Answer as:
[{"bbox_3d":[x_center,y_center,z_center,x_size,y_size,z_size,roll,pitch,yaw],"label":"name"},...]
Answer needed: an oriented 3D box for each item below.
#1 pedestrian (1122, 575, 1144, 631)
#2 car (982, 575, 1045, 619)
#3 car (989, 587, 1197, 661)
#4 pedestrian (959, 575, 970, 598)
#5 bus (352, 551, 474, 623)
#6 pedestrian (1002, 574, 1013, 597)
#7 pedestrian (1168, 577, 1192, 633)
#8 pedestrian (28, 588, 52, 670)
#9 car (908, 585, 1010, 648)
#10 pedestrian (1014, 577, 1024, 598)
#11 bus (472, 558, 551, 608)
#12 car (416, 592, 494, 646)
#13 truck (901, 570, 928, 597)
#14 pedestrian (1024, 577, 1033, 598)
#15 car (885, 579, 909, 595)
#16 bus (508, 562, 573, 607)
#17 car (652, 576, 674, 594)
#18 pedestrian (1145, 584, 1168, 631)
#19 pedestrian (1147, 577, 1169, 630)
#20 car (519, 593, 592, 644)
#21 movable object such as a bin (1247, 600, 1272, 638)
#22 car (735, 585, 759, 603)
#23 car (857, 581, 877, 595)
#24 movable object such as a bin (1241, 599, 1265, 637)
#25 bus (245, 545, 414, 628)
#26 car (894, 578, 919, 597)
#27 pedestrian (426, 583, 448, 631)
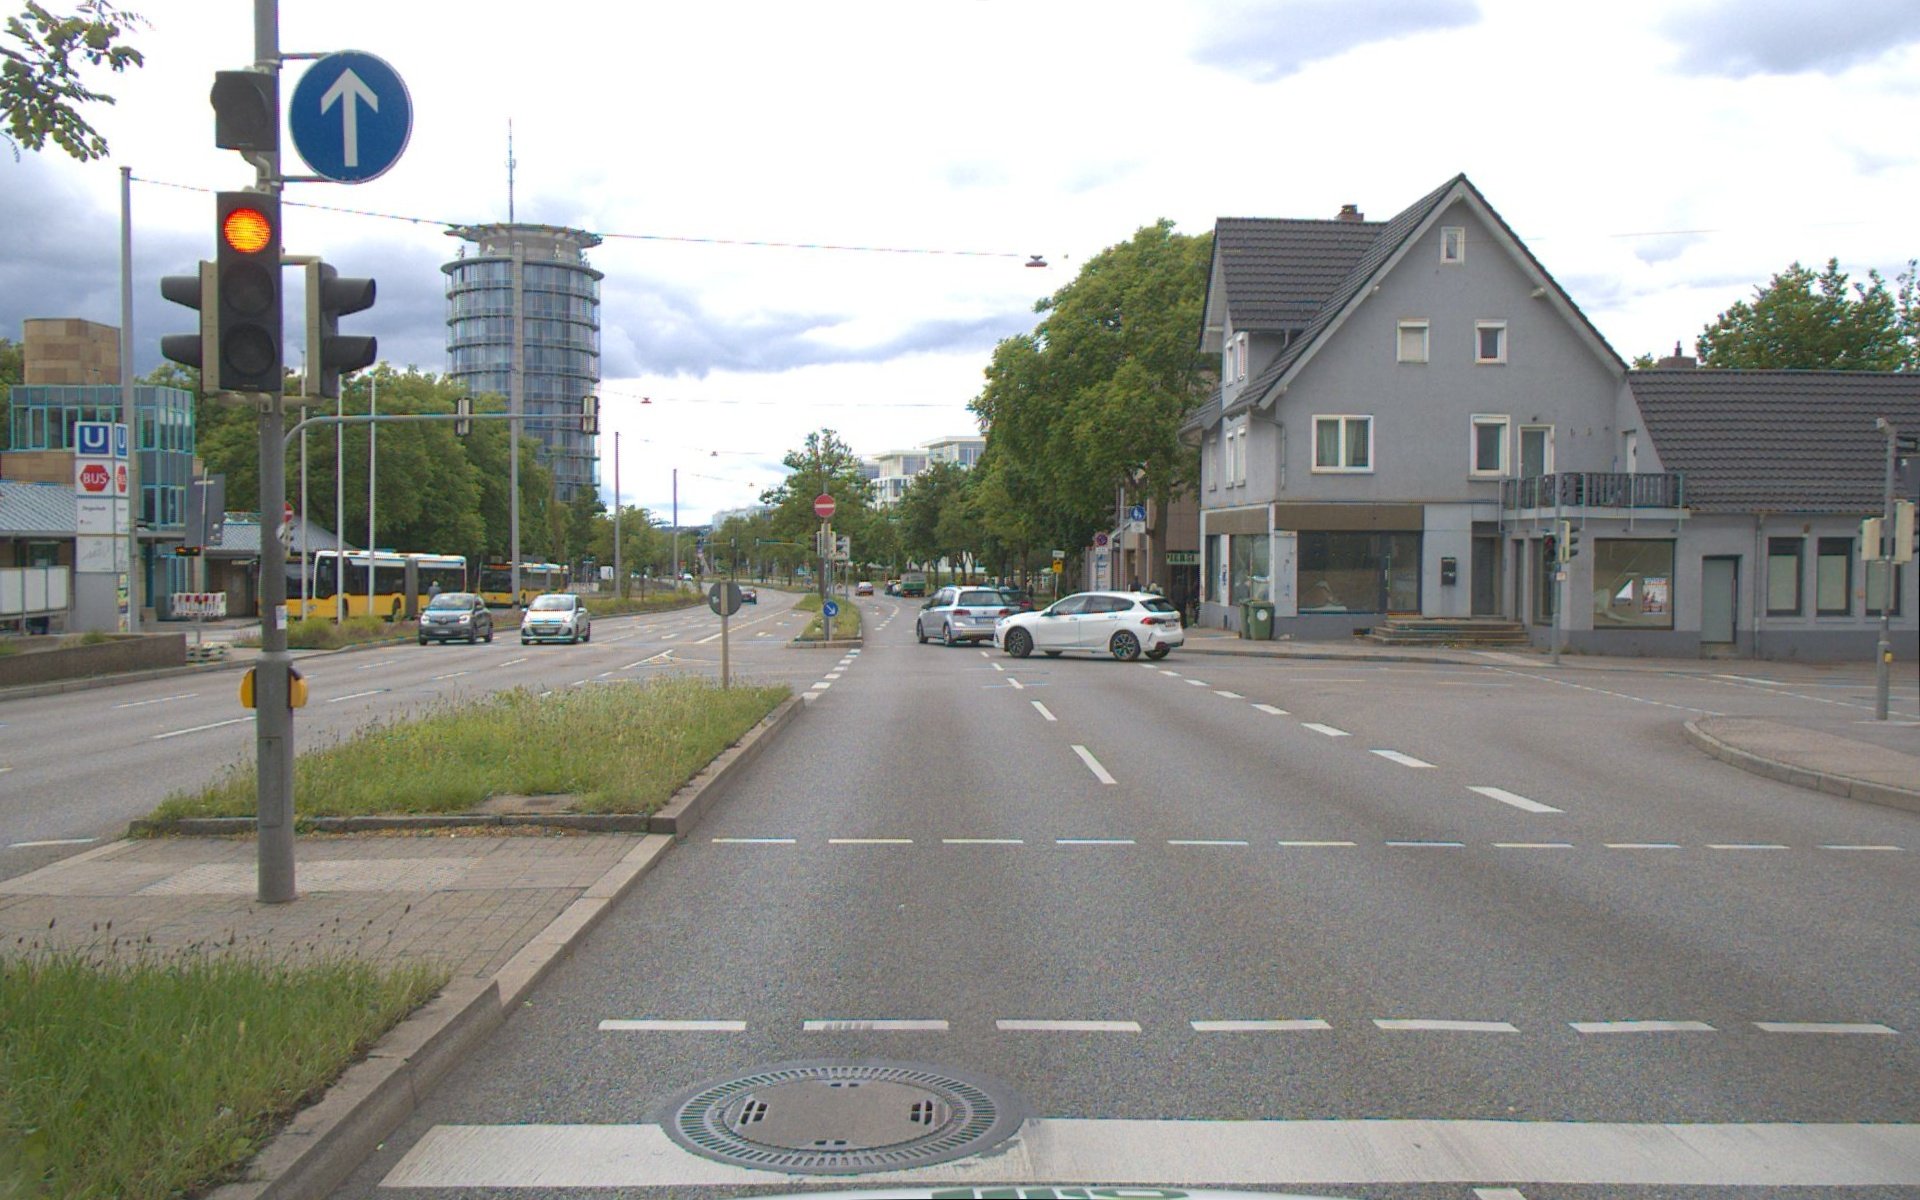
[{"bbox_3d":[5.697,0.102,54.504,0.690,1.811,0.871,-1,0,5],"label":"pedestrian"},{"bbox_3d":[1.938,-0.088,61.053,1.852,1.521,4.094,-1,0,-5],"label":"car"},{"bbox_3d":[2.934,0.502,36.741,4.163,1.503,1.996,1,0,30],"label":"car"},{"bbox_3d":[0.494,-1.433,174.518,0.914,2.349,1.008,1,-1,-10],"label":"pedestrian"},{"bbox_3d":[-26.543,-0.615,80.723,2.927,3.327,7.879,-1,0,3],"label":"bus"},{"bbox_3d":[4.198,-1.296,146.151,0.951,2.049,0.981,1,-1,-2],"label":"pedestrian"},{"bbox_3d":[7.110,0.154,53.462,0.690,1.791,1.053,0,0,4],"label":"pedestrian"},{"bbox_3d":[-18.421,0.579,33.126,0.414,1.619,0.353,0,0,-30],"label":"pedestrian"},{"bbox_3d":[-0.076,0.418,44.755,1.792,1.567,4.099,2,0,-14],"label":"car"},{"bbox_3d":[4.566,-0.993,128.578,0.638,1.597,0.669,0,0,-9],"label":"pedestrian"},{"bbox_3d":[-30.781,-1.118,114.017,3.082,3.281,10.279,0,0,-3],"label":"bus"},{"bbox_3d":[-15.473,0.561,50.818,1.652,1.606,3.344,0,0,-6],"label":"car"},{"bbox_3d":[-4.343,-1.535,156.430,2.207,2.459,4.927,0,0,-5],"label":"truck"},{"bbox_3d":[5.330,-0.980,128.674,0.638,1.597,0.669,0,0,-9],"label":"pedestrian"},{"bbox_3d":[-6.596,-1.389,173.784,2.207,1.676,4.927,0,0,-6],"label":"car"},{"bbox_3d":[-31.143,-1.133,123.016,3.081,3.281,7.762,0,0,-2],"label":"bus"},{"bbox_3d":[-35.900,-1.827,199.747,1.925,2.049,3.999,1,0,-1],"label":"car"},{"bbox_3d":[6.405,0.237,53.999,0.690,1.533,0.871,0,0,4],"label":"pedestrian"},{"bbox_3d":[6.825,0.129,57.038,0.690,1.811,0.870,0,0,4],"label":"pedestrian"},{"bbox_3d":[-12.364,0.546,50.730,1.651,1.488,3.552,0,0,-5],"label":"car"},{"bbox_3d":[7.998,0.492,44.165,0.518,0.997,0.736,0,0,-1],"label":"movable object such as a bin"},{"bbox_3d":[-17.910,-0.501,138.975,1.668,1.518,3.560,-1,0,-3],"label":"car"},{"bbox_3d":[-9.714,-1.259,173.027,1.929,1.444,4.017,0,0,-6],"label":"car"},{"bbox_3d":[7.968,0.486,44.955,0.518,0.997,0.736,0,0,-1],"label":"movable object such as a bin"},{"bbox_3d":[-27.081,-0.563,71.698,2.927,3.307,10.174,-1,0,3],"label":"bus"},{"bbox_3d":[-5.396,-1.242,165.007,2.207,1.787,4.927,0,0,-5],"label":"car"},{"bbox_3d":[-20.930,0.278,66.245,0.647,1.930,0.685,0,0,0],"label":"pedestrian"}]
